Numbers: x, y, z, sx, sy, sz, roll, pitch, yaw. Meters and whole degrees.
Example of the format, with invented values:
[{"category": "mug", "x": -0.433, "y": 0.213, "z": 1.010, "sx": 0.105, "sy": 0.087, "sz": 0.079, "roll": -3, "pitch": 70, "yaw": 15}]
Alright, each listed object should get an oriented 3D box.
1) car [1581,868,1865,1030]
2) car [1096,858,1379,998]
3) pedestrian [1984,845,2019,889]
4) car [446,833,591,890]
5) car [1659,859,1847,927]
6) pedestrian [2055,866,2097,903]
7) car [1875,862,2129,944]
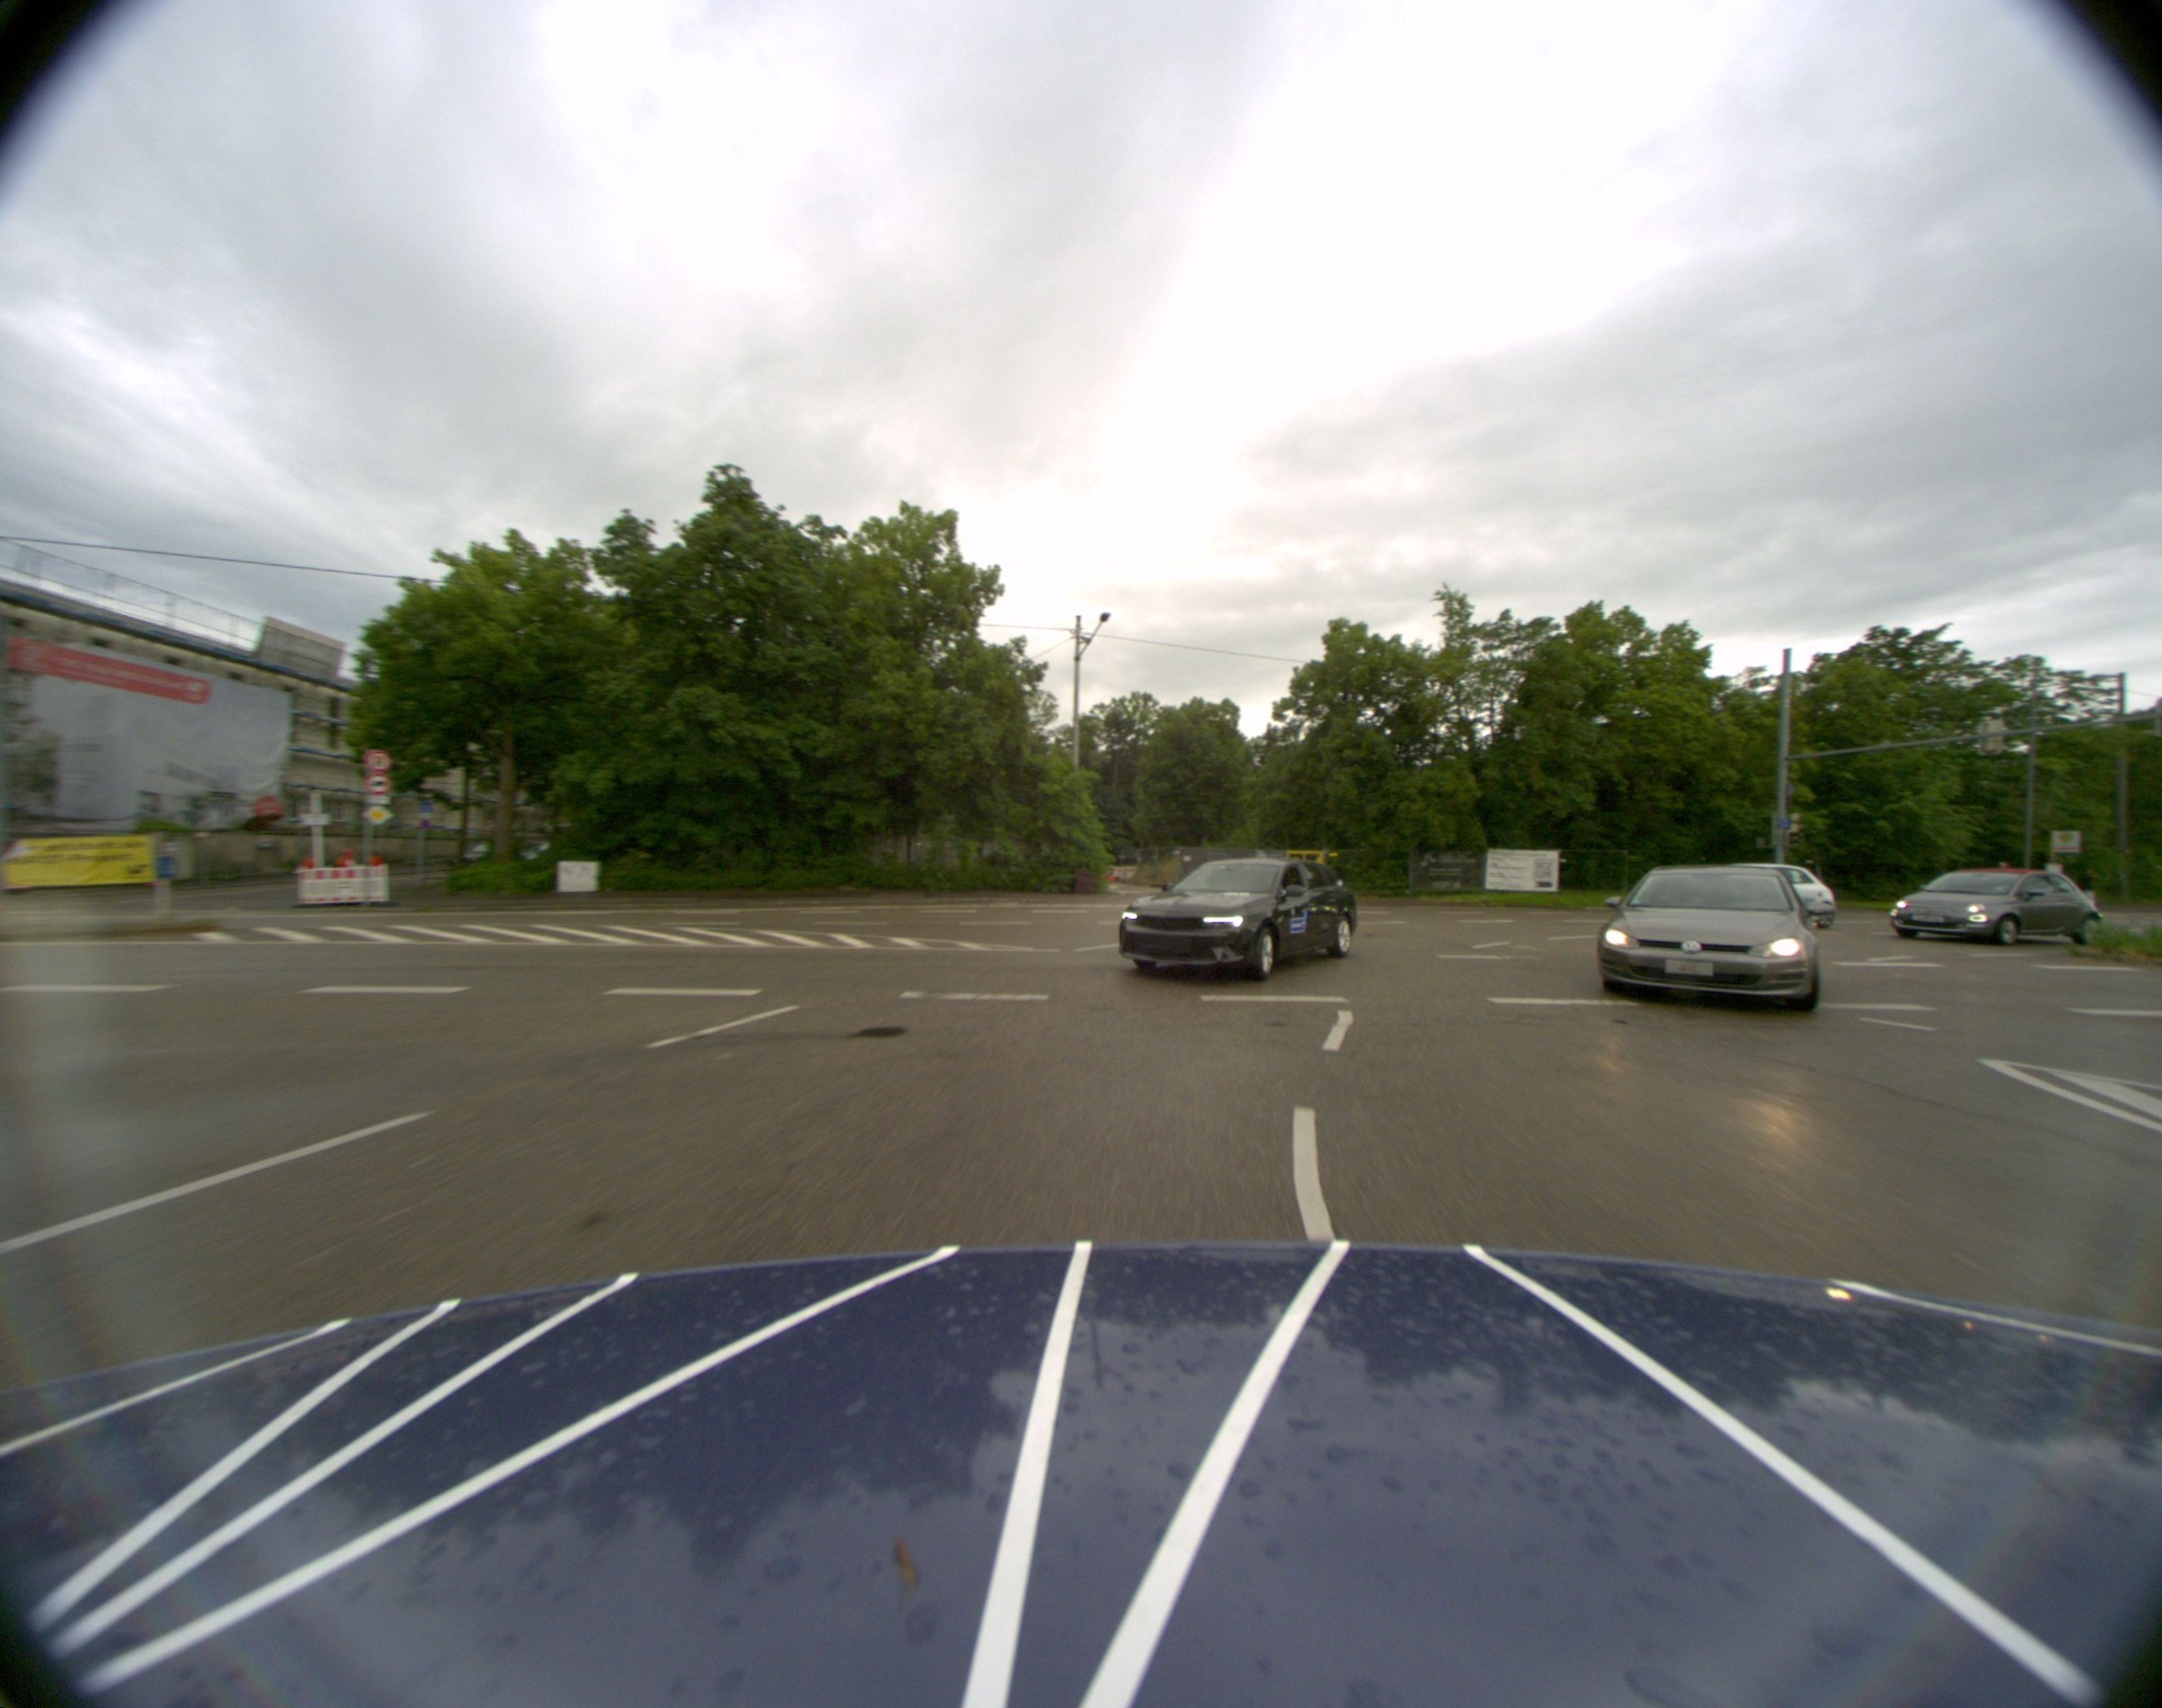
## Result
[{"category": "car", "x": 7.503, "y": 0.896, "z": 8.750, "sx": 4.009, "sy": 1.431, "sz": 1.901, "roll": 2, "pitch": -2, "yaw": -41}, {"category": "car", "x": 2.338, "y": 0.797, "z": 10.329, "sx": 1.800, "sy": 1.422, "sz": 4.530, "roll": 2, "pitch": 1, "yaw": 40}, {"category": "pedestrian", "x": 40.287, "y": 0.556, "z": 33.249, "sx": 0.700, "sy": 1.873, "sz": 0.677, "roll": 1, "pitch": 1, "yaw": -9}, {"category": "car", "x": -21.346, "y": 0.238, "z": 28.958, "sx": 1.994, "sy": 2.002, "sz": 4.008, "roll": 2, "pitch": 1, "yaw": 36}, {"category": "car", "x": 16.367, "y": 0.914, "z": 18.562, "sx": 3.581, "sy": 1.512, "sz": 1.644, "roll": 1, "pitch": 1, "yaw": -13}, {"category": "pedestrian", "x": 45.686, "y": 1.385, "z": 34.882, "sx": 0.831, "sy": 1.666, "sz": 0.821, "roll": 1, "pitch": 1, "yaw": -9}, {"category": "car", "x": 18.913, "y": 0.964, "z": 15.682, "sx": 3.657, "sy": 1.521, "sz": 1.670, "roll": 0, "pitch": 1, "yaw": -9}]
